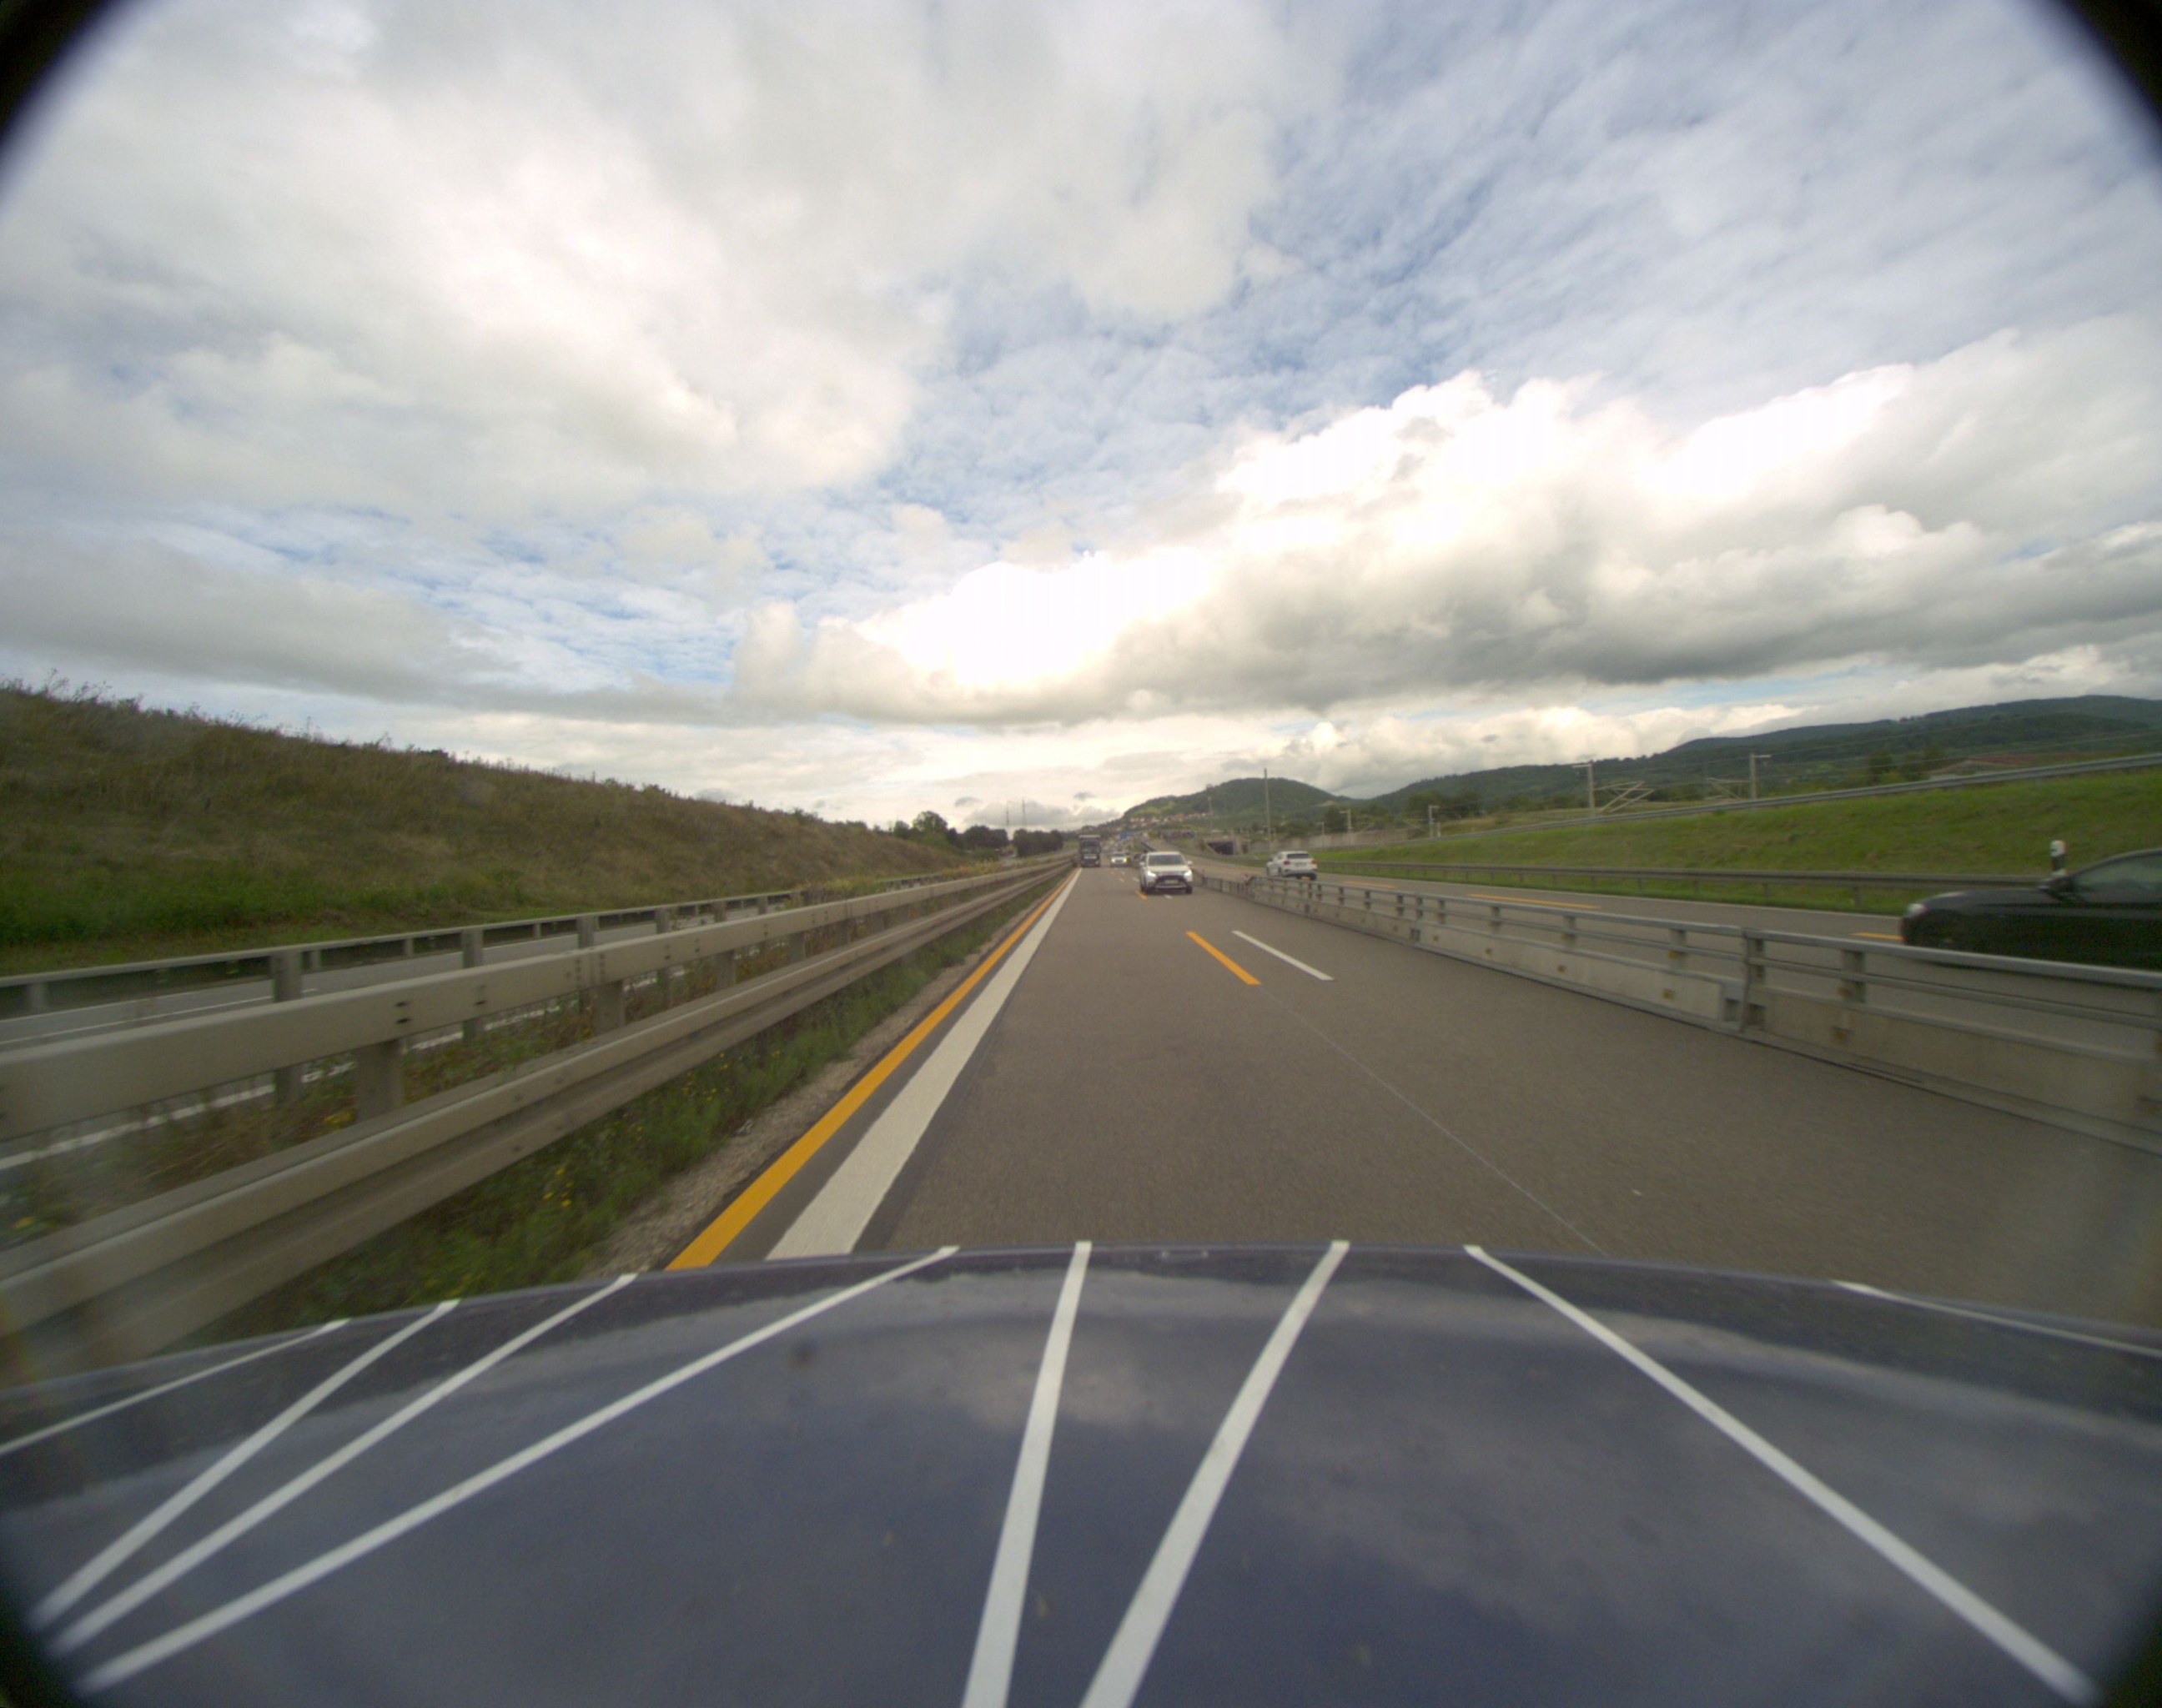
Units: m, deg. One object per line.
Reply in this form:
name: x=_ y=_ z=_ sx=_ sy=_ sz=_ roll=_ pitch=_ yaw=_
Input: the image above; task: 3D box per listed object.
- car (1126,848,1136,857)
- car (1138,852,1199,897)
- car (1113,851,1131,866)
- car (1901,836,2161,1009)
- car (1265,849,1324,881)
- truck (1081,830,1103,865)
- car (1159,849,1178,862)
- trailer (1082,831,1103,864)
car: x=10.324 y=-0.282 z=157.548 sx=1.801 sy=1.786 sz=3.999 roll=-2 pitch=1 yaw=0
car: x=3.424 y=0.773 z=30.516 sx=1.998 sy=1.618 sz=4.607 roll=-1 pitch=0 yaw=2
car: x=5.002 y=0.565 z=93.690 sx=1.990 sy=1.787 sz=4.586 roll=-2 pitch=0 yaw=1
car: x=10.482 y=0.604 z=6.841 sx=1.792 sy=1.507 sz=4.135 roll=-1 pitch=1 yaw=1
car: x=11.007 y=0.518 z=39.498 sx=1.894 sy=1.517 sz=4.182 roll=-2 pitch=0 yaw=1
truck: x=1.413 y=-0.794 z=94.091 sx=2.521 sy=4.081 sz=5.685 roll=-2 pitch=0 yaw=1
car: x=12.004 y=0.219 z=104.308 sx=2.094 sy=1.570 sz=4.281 roll=-2 pitch=1 yaw=1
trailer: x=1.532 y=-0.815 z=99.048 sx=2.521 sy=4.081 sz=11.113 roll=-2 pitch=0 yaw=1
